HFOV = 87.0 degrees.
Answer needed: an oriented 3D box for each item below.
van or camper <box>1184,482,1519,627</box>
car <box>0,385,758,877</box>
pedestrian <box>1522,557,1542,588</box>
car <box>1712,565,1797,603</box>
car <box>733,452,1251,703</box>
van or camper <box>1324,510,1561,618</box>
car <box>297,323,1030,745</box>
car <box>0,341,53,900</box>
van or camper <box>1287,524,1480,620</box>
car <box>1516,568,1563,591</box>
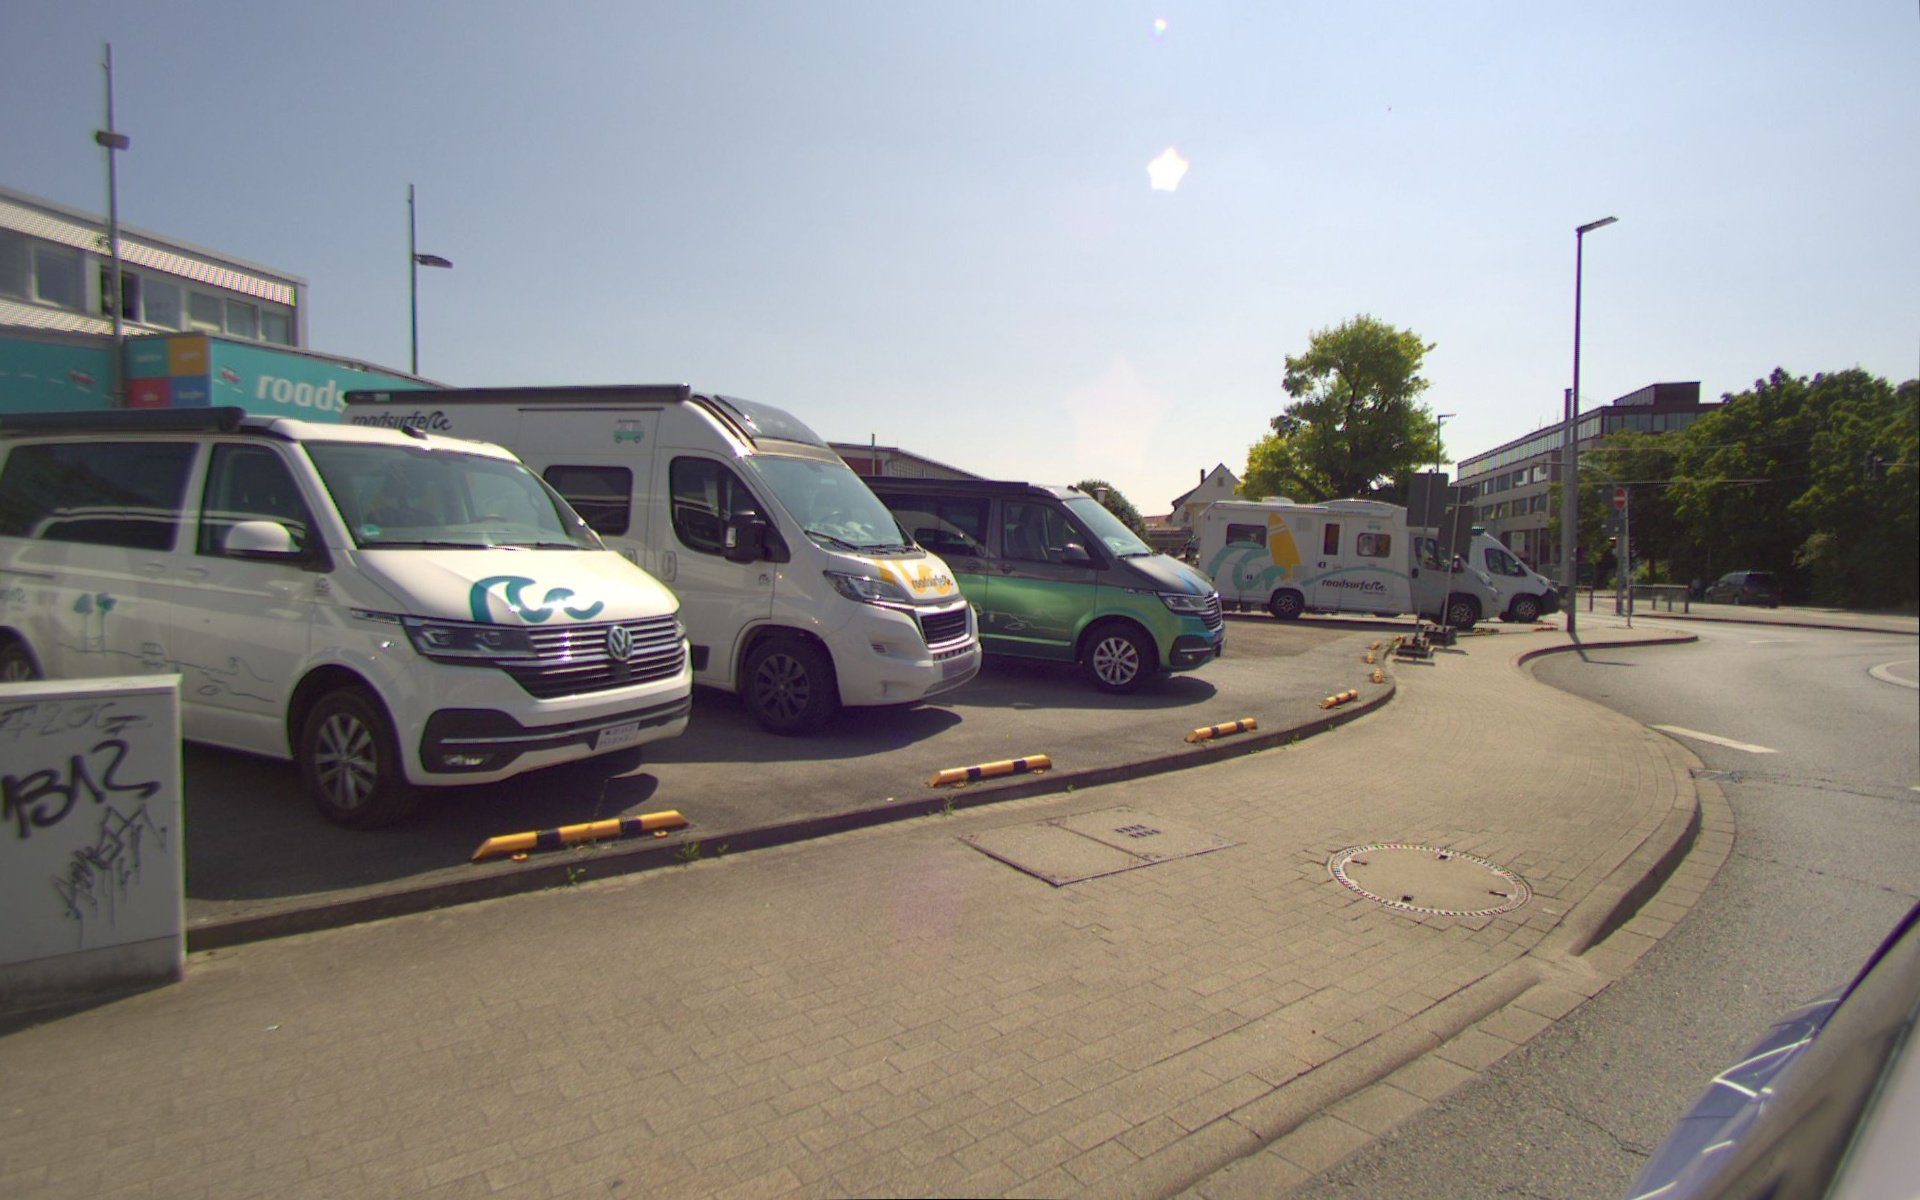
[{"bbox_3d":[8.994,-1.130,24.076,6.984,2.982,2.325,3,3,15],"label":"van or camper"},{"bbox_3d":[-3.924,-0.014,6.169,5.107,2.024,2.008,3,3,25],"label":"car"},{"bbox_3d":[32.875,-1.598,58.173,0.715,1.746,0.940,0,1,14],"label":"pedestrian"},{"bbox_3d":[40.494,-0.863,51.734,1.964,1.841,4.384,1,2,18],"label":"car"},{"bbox_3d":[0.338,-0.395,10.975,5.166,2.138,2.084,4,5,21],"label":"car"},{"bbox_3d":[13.514,-1.042,28.808,5.752,2.808,2.079,2,1,18],"label":"van or camper"},{"bbox_3d":[-2.658,-0.578,8.867,6.088,2.750,2.290,2,2,23],"label":"car"},{"bbox_3d":[-6.093,-0.035,4.230,5.106,2.038,1.911,3,3,29],"label":"car"},{"bbox_3d":[13.256,-0.883,32.082,5.453,2.850,2.035,1,0,19],"label":"van or camper"},{"bbox_3d":[48.818,-1.771,85.344,1.902,1.601,4.183,4,4,9],"label":"car"}]
